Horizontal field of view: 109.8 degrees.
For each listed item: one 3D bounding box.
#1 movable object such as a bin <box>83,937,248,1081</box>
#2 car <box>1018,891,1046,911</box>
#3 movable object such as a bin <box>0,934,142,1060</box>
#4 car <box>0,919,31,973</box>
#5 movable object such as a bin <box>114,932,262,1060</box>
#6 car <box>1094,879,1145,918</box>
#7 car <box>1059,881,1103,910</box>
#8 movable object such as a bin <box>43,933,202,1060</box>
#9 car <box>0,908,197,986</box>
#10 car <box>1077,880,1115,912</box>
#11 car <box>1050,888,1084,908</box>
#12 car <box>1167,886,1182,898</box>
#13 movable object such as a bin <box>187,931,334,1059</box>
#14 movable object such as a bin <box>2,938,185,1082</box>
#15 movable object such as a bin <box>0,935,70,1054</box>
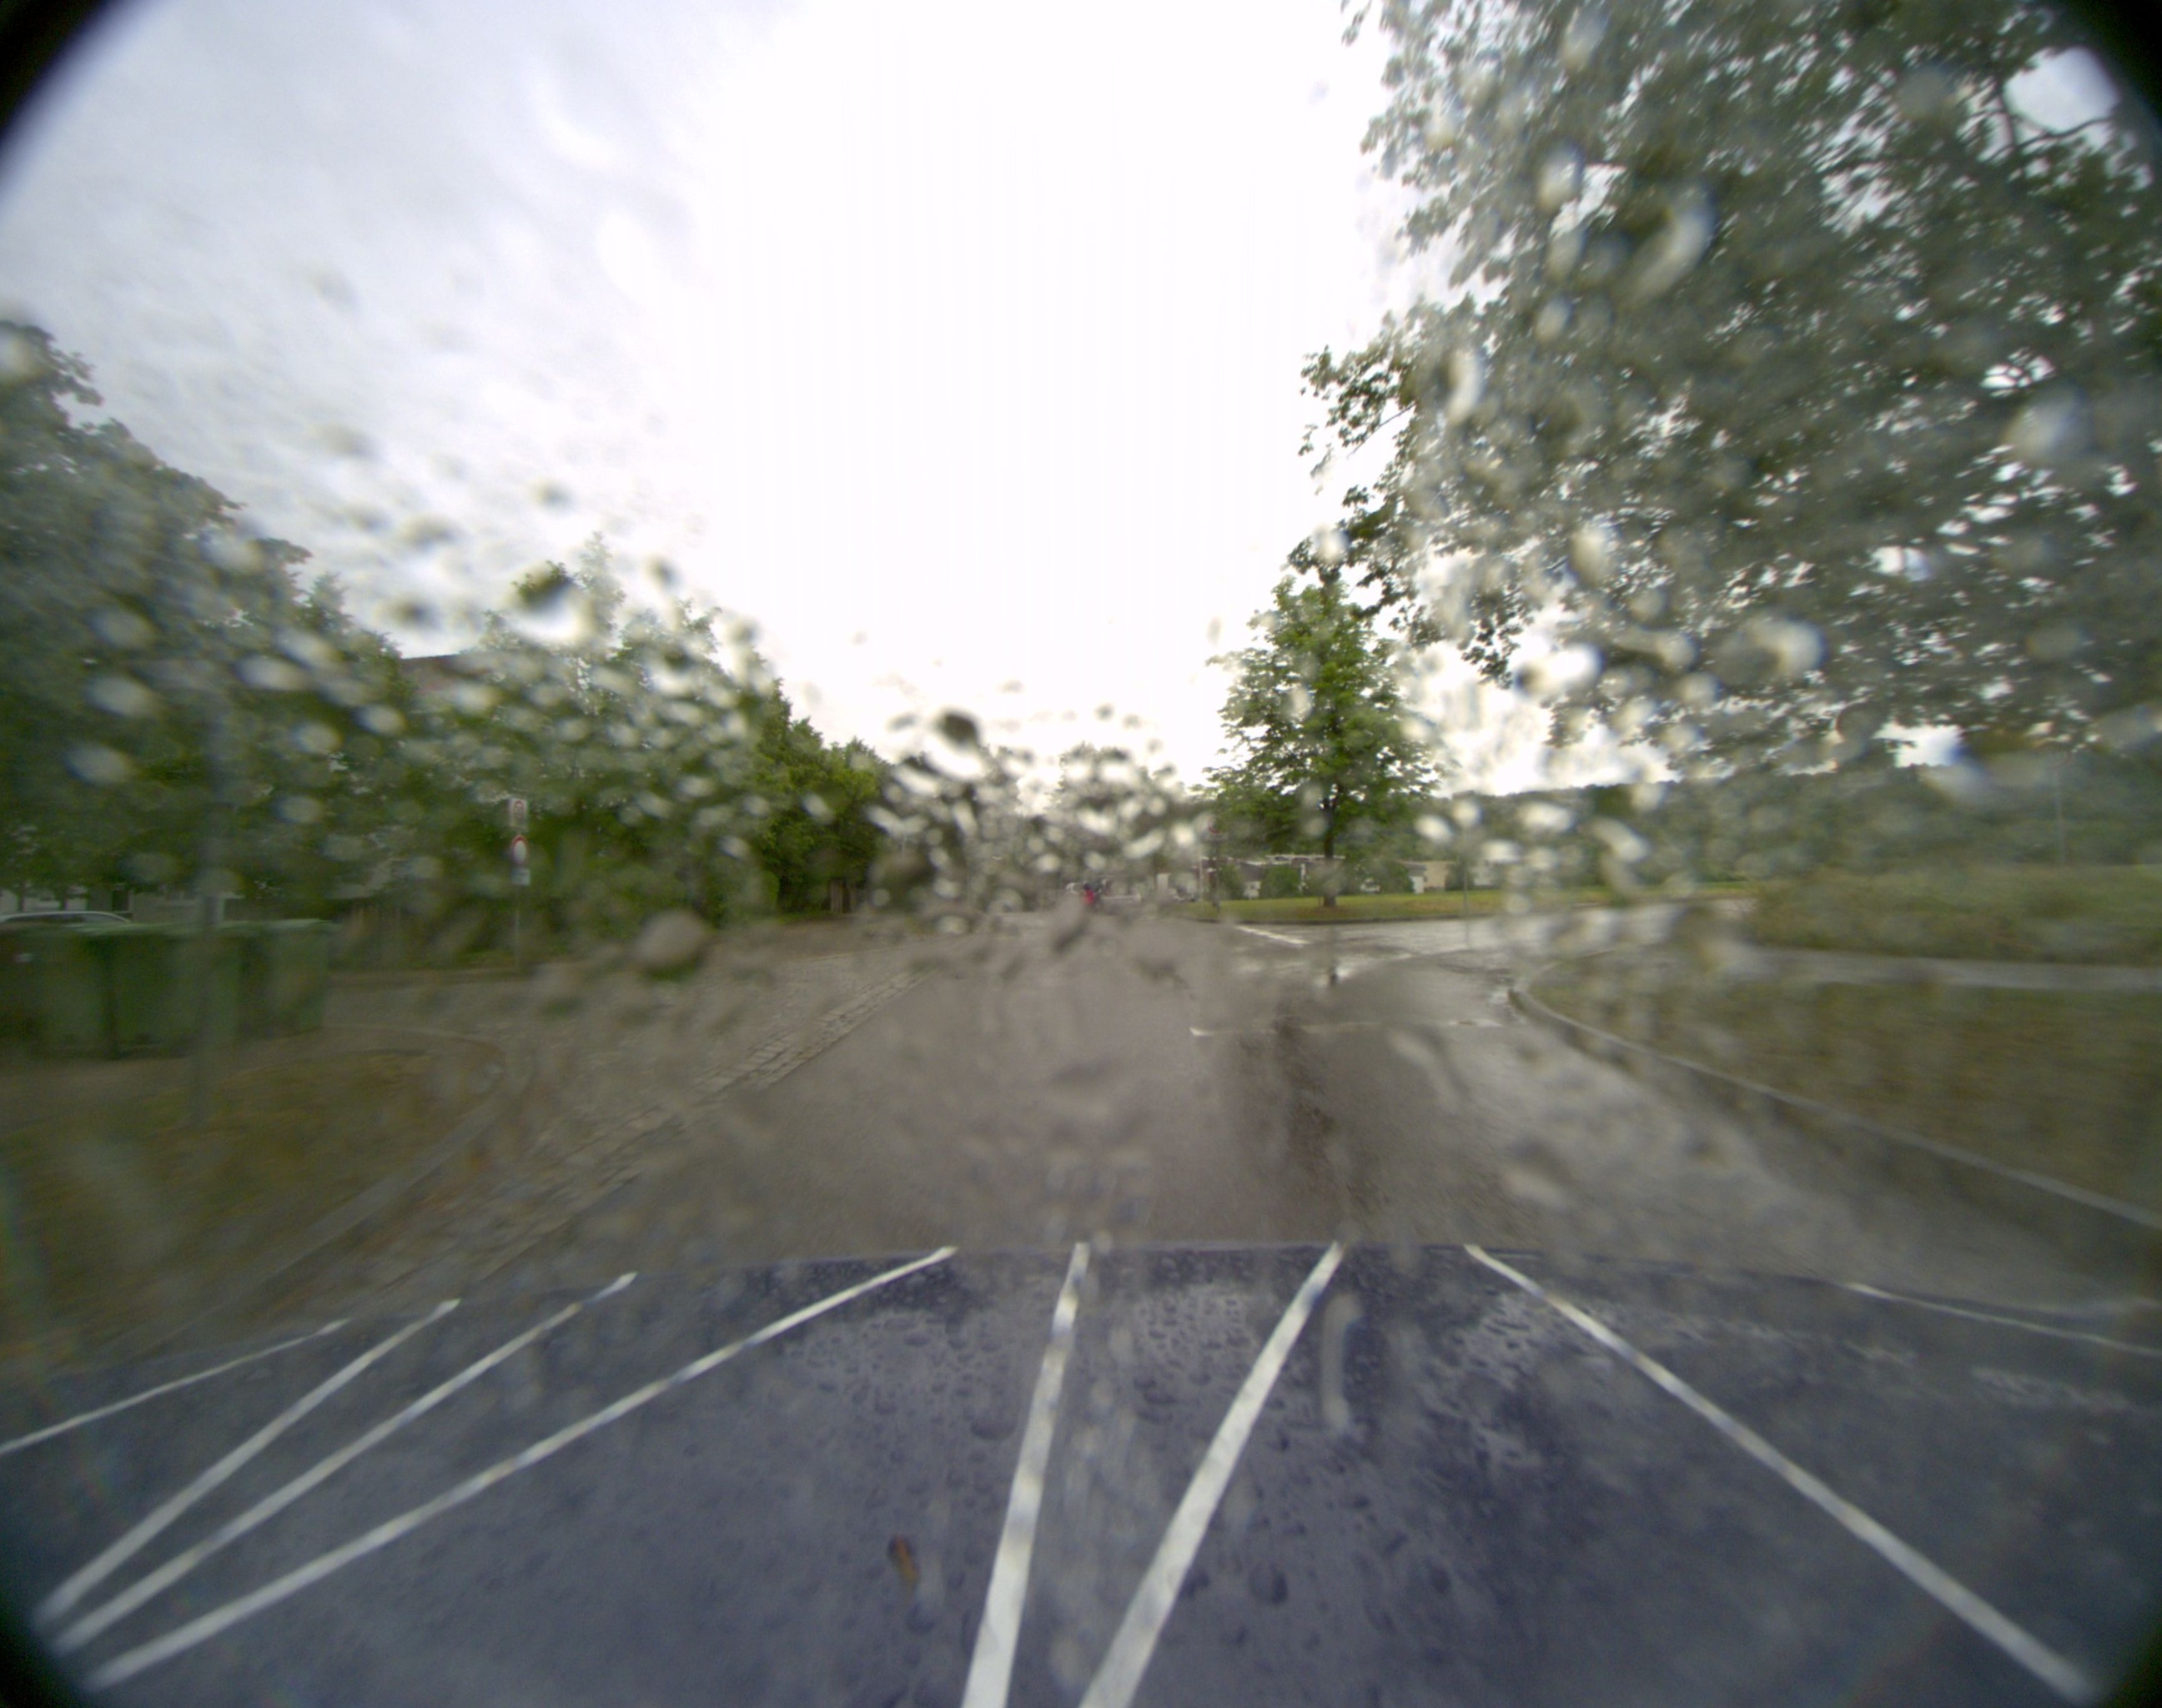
[{"bbox_3d":[-7.553,1.253,6.299,0.543,1.067,0.667,-1,-2,-1],"label":"movable object such as a bin"},{"bbox_3d":[-4.538,4.330,69.215,1.962,1.596,4.000,-1,-5,-12],"label":"car"},{"bbox_3d":[-9.475,1.304,7.066,0.605,1.048,0.696,-1,-2,-2],"label":"movable object such as a bin"},{"bbox_3d":[-32.933,2.732,21.116,1.776,1.519,4.005,-2,-1,14],"label":"car"},{"bbox_3d":[-8.259,1.292,7.061,0.543,1.068,0.696,-1,-2,-2],"label":"movable object such as a bin"},{"bbox_3d":[1.571,1.834,32.066,1.679,1.470,3.554,-2,-2,-4],"label":"car"},{"bbox_3d":[-0.041,2.404,43.823,1.852,1.542,3.989,-1,-3,-10],"label":"car"},{"bbox_3d":[-8.856,1.292,7.048,0.578,1.060,0.696,-1,-2,-2],"label":"movable object such as a bin"},{"bbox_3d":[-26.213,2.348,19.637,1.776,1.654,4.005,-2,-1,14],"label":"car"},{"bbox_3d":[0.698,2.093,37.886,1.553,1.427,3.012,-2,-3,-5],"label":"car"},{"bbox_3d":[-0.988,3.016,52.177,1.734,1.273,3.327,-1,-3,-11],"label":"car"},{"bbox_3d":[26.280,10.751,213.668,2.141,3.205,5.084,-2,-2,-16],"label":"car"},{"bbox_3d":[-7.608,1.284,7.078,0.602,1.068,0.696,-1,-2,-2],"label":"movable object such as a bin"},{"bbox_3d":[-8.181,1.262,6.329,0.597,1.066,0.696,-1,-2,-2],"label":"movable object such as a bin"},{"bbox_3d":[-10.220,1.317,7.094,0.605,1.048,0.696,-1,-2,-2],"label":"movable object such as a bin"}]
